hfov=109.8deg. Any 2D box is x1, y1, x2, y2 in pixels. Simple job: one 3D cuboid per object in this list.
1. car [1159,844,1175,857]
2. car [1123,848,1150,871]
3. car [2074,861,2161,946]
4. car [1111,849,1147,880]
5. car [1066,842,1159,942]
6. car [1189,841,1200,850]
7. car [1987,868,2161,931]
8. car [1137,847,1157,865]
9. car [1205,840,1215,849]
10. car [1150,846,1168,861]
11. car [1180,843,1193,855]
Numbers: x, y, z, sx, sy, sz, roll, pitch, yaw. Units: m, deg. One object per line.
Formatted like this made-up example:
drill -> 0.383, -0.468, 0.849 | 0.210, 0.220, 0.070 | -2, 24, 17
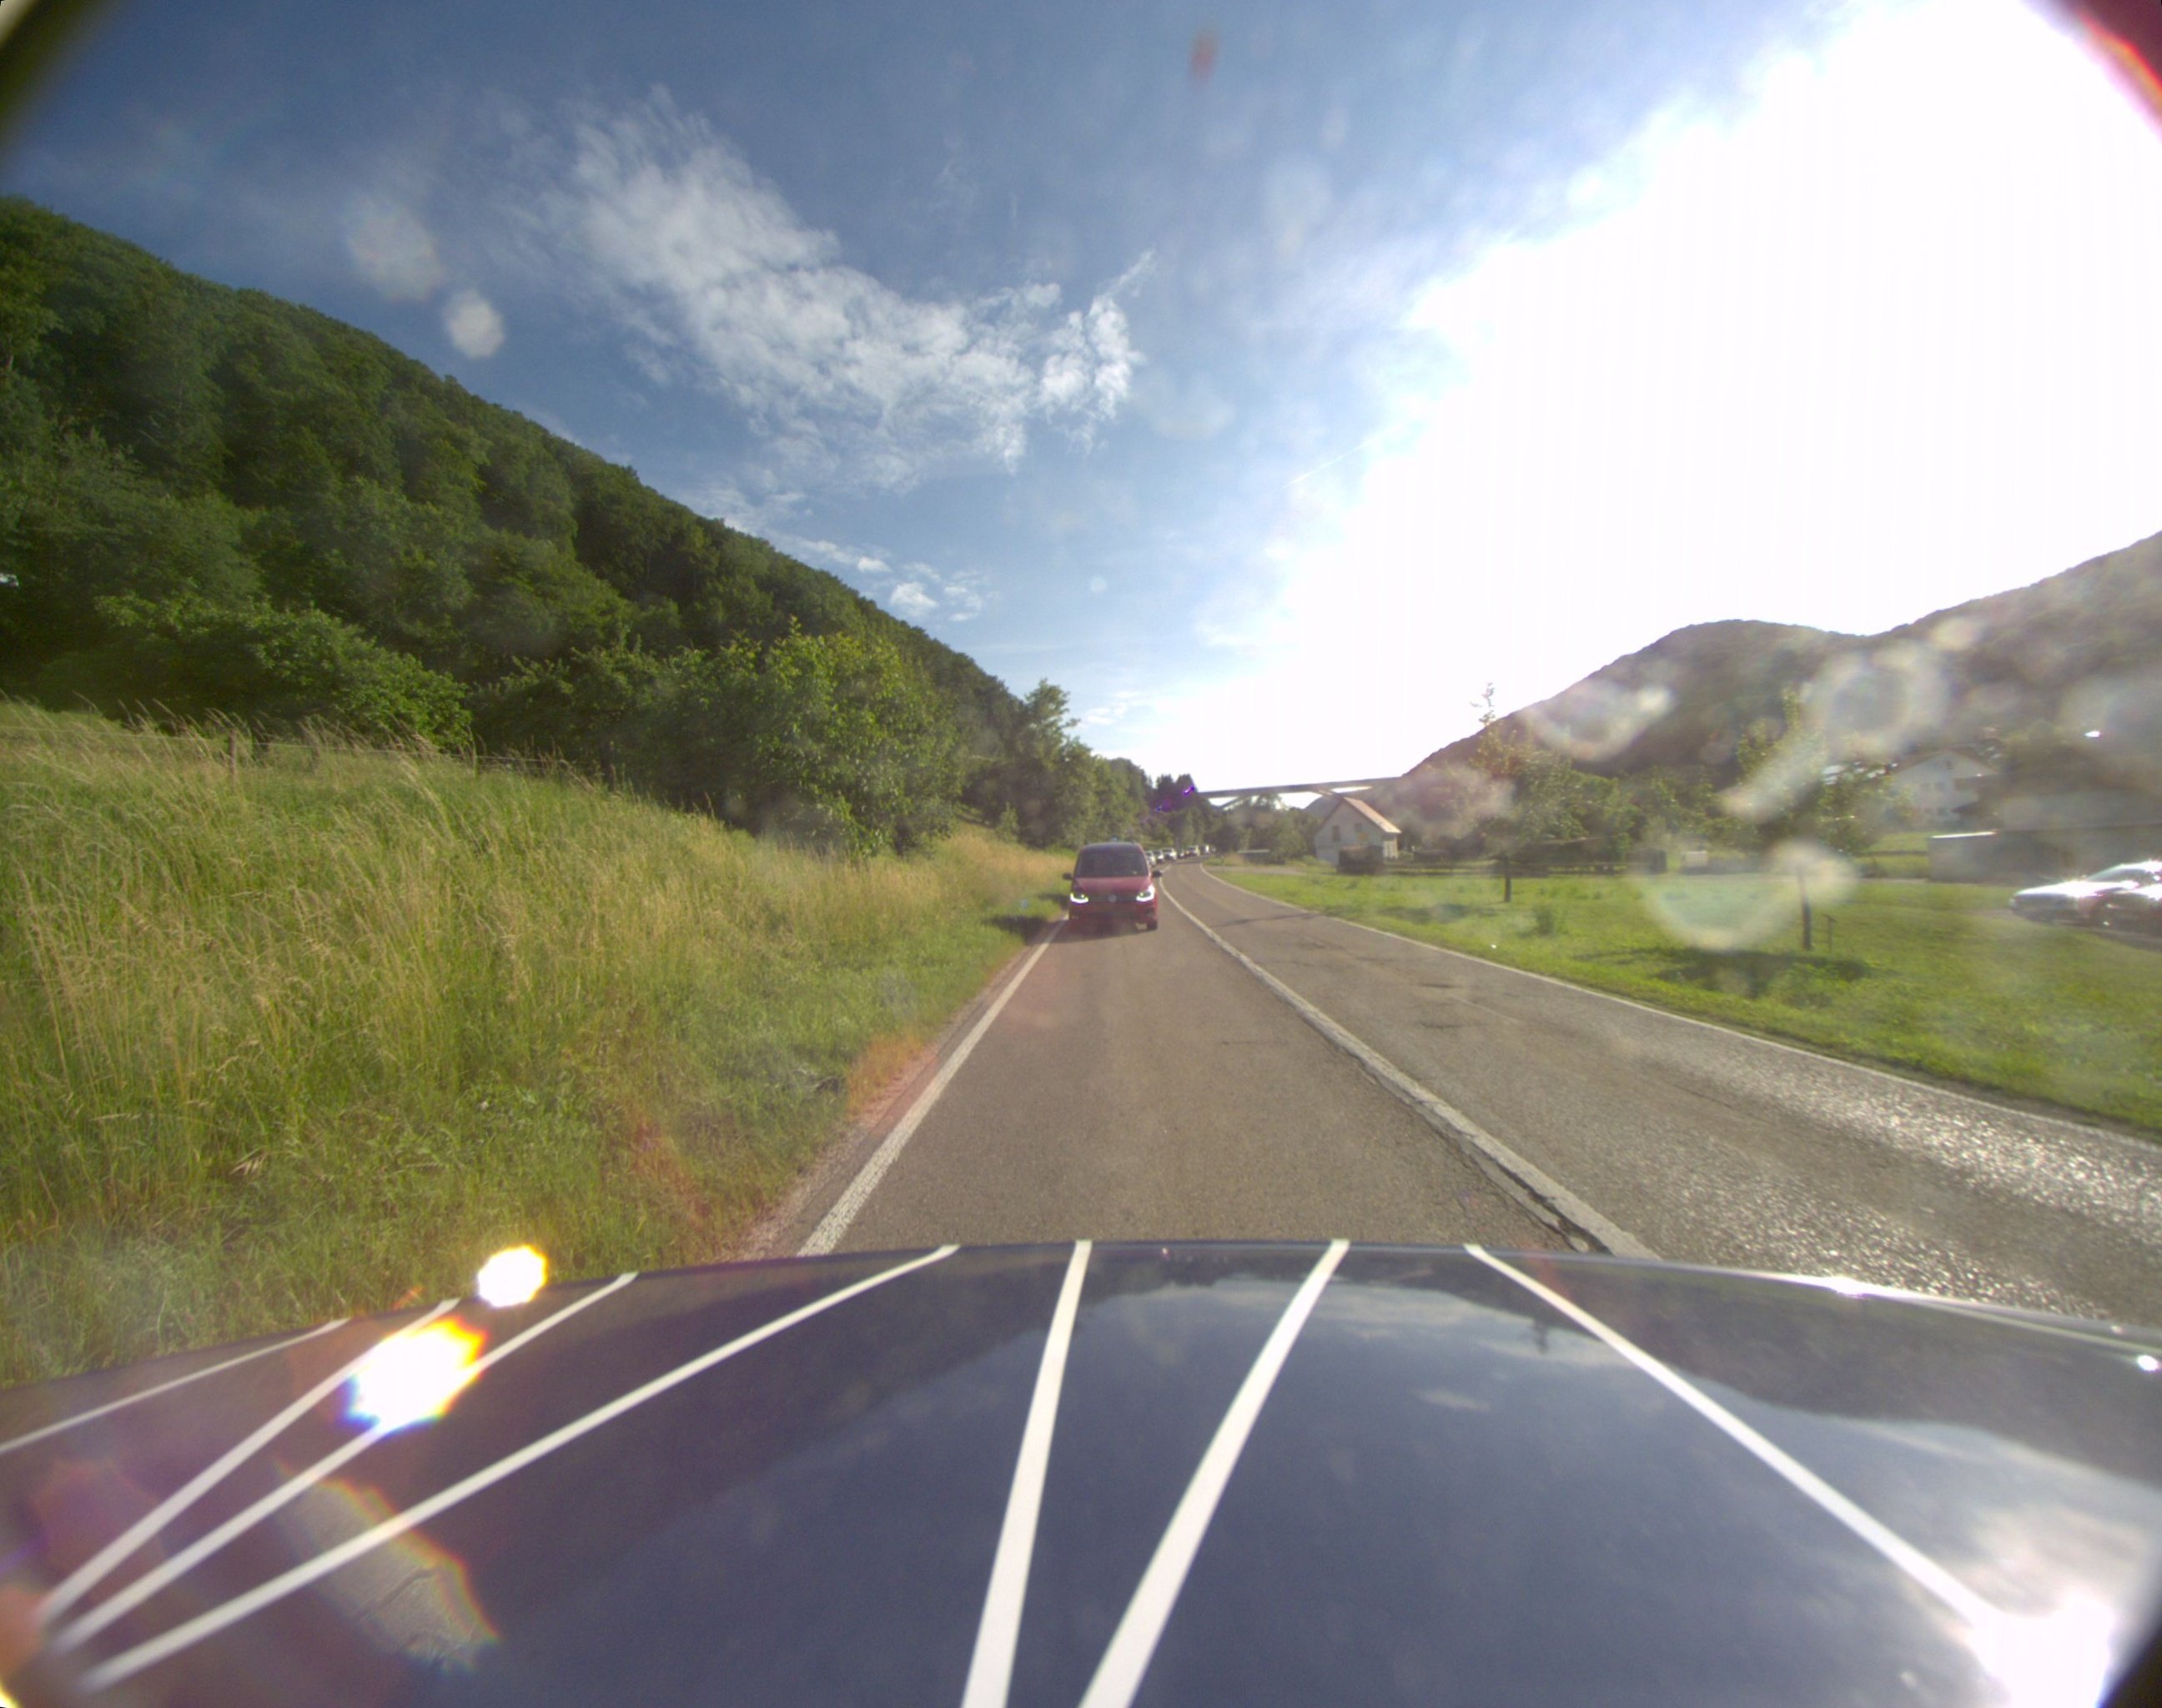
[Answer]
car -> 10.286, -0.394, 90.932 | 1.629, 1.470, 3.680 | -2, 1, 4
car -> 4.016, 0.360, 54.448 | 1.629, 1.470, 3.681 | -2, 1, 7
car -> 24.665, 0.979, 15.983 | 4.327, 1.659, 1.849 | -2, 1, 16
car -> 2.646, 0.543, 41.171 | 1.629, 1.470, 3.681 | -2, 1, 7
car -> 0.697, 0.677, 15.912 | 1.649, 1.762, 4.000 | -2, 1, 4
car -> 18.258, -1.361, 122.046 | 1.629, 1.470, 3.680 | -2, 1, 6
car -> 25.843, 1.110, 18.920 | 3.892, 1.360, 1.854 | -1, 1, 13
car -> 5.907, 0.167, 67.840 | 1.629, 1.470, 3.681 | -2, 1, 7
car -> 23.061, -1.647, 136.157 | 1.629, 1.470, 3.681 | -2, 1, 11
car -> 8.150, -0.101, 79.591 | 1.629, 1.470, 3.680 | -2, 1, 4
car -> 14.708, -0.709, 106.024 | 1.629, 1.470, 3.681 | -2, 1, 11
